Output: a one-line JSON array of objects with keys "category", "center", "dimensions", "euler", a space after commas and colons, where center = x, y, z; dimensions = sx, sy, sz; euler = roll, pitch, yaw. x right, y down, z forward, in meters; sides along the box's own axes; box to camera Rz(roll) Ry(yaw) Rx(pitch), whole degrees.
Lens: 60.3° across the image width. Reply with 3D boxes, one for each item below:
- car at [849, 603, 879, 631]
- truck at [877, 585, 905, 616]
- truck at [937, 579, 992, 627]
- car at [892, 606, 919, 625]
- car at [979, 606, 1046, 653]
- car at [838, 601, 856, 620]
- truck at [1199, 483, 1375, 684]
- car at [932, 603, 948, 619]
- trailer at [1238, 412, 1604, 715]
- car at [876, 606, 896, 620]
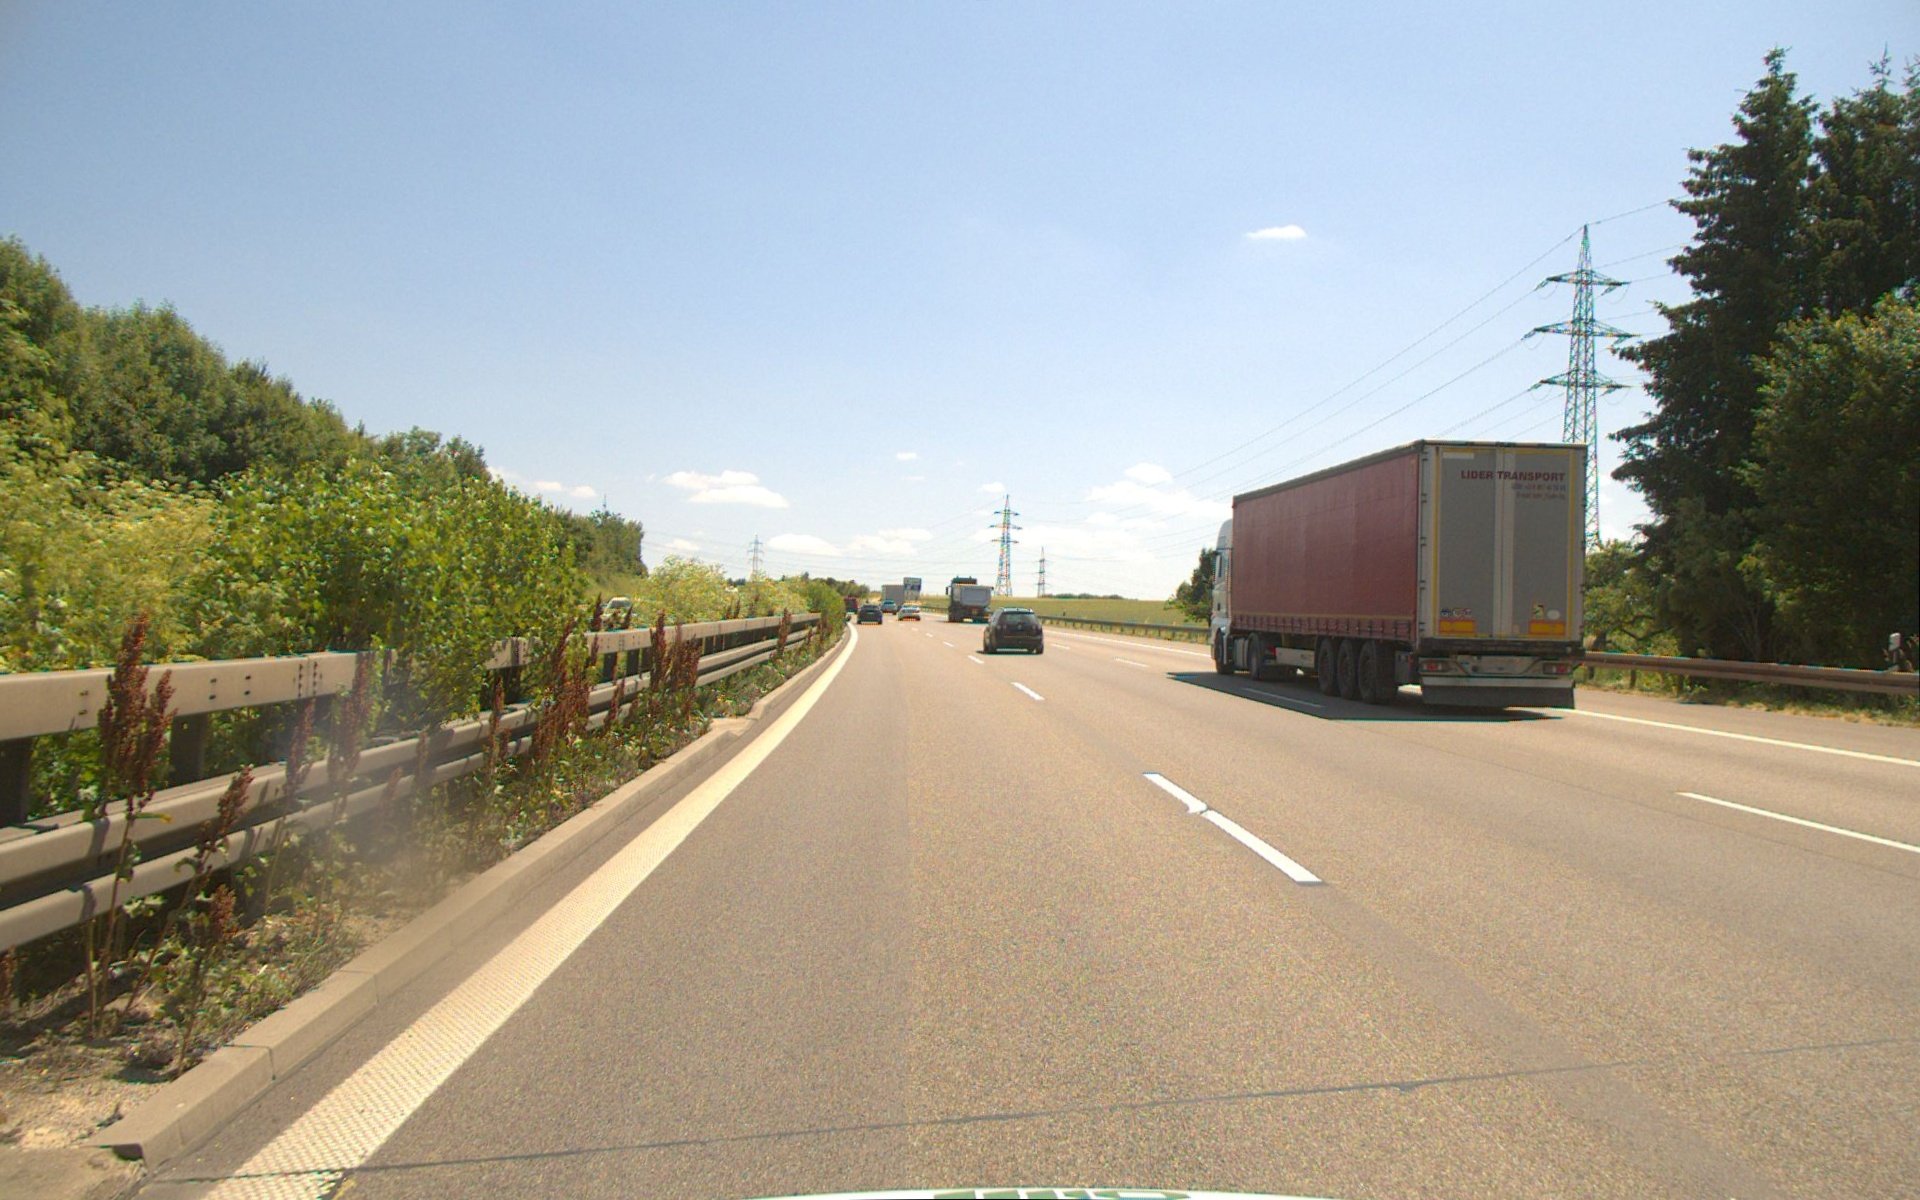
[{"category": "car", "center": [-6.893, 1.197, 118.374], "dimensions": [1.955, 1.892, 3.995], "euler": [1, 0, -6]}, {"category": "truck", "center": [-9.355, 0.095, 222.158], "dimensions": [3.159, 3.993, 9.048], "euler": [1, -1, -6]}, {"category": "truck", "center": [0.296, 0.233, 139.145], "dimensions": [2.811, 3.789, 12.739], "euler": [1, 0, -8]}, {"category": "car", "center": [-4.665, 1.346, 141.395], "dimensions": [1.786, 1.568, 3.905], "euler": [1, 0, -10]}, {"category": "car", "center": [1.708, 0.950, 54.711], "dimensions": [1.722, 1.454, 3.995], "euler": [1, 0, -5]}, {"category": "car", "center": [-12.336, 1.122, 180.760], "dimensions": [1.864, 1.959, 3.997], "euler": [1, 0, -4]}, {"category": "truck", "center": [7.418, -0.338, 38.366], "dimensions": [2.510, 4.226, 6.245], "euler": [1, 0, -3]}, {"category": "car", "center": [-2.706, 1.487, 222.527], "dimensions": [1.779, 2.049, 3.947], "euler": [1, 0, -8]}, {"category": "trailer", "center": [7.800, -0.499, 30.513], "dimensions": [2.549, 4.338, 13.026], "euler": [1, 0, -2]}, {"category": "car", "center": [-8.109, 1.411, 180.211], "dimensions": [1.804, 1.568, 3.908], "euler": [1, 0, -8]}]
